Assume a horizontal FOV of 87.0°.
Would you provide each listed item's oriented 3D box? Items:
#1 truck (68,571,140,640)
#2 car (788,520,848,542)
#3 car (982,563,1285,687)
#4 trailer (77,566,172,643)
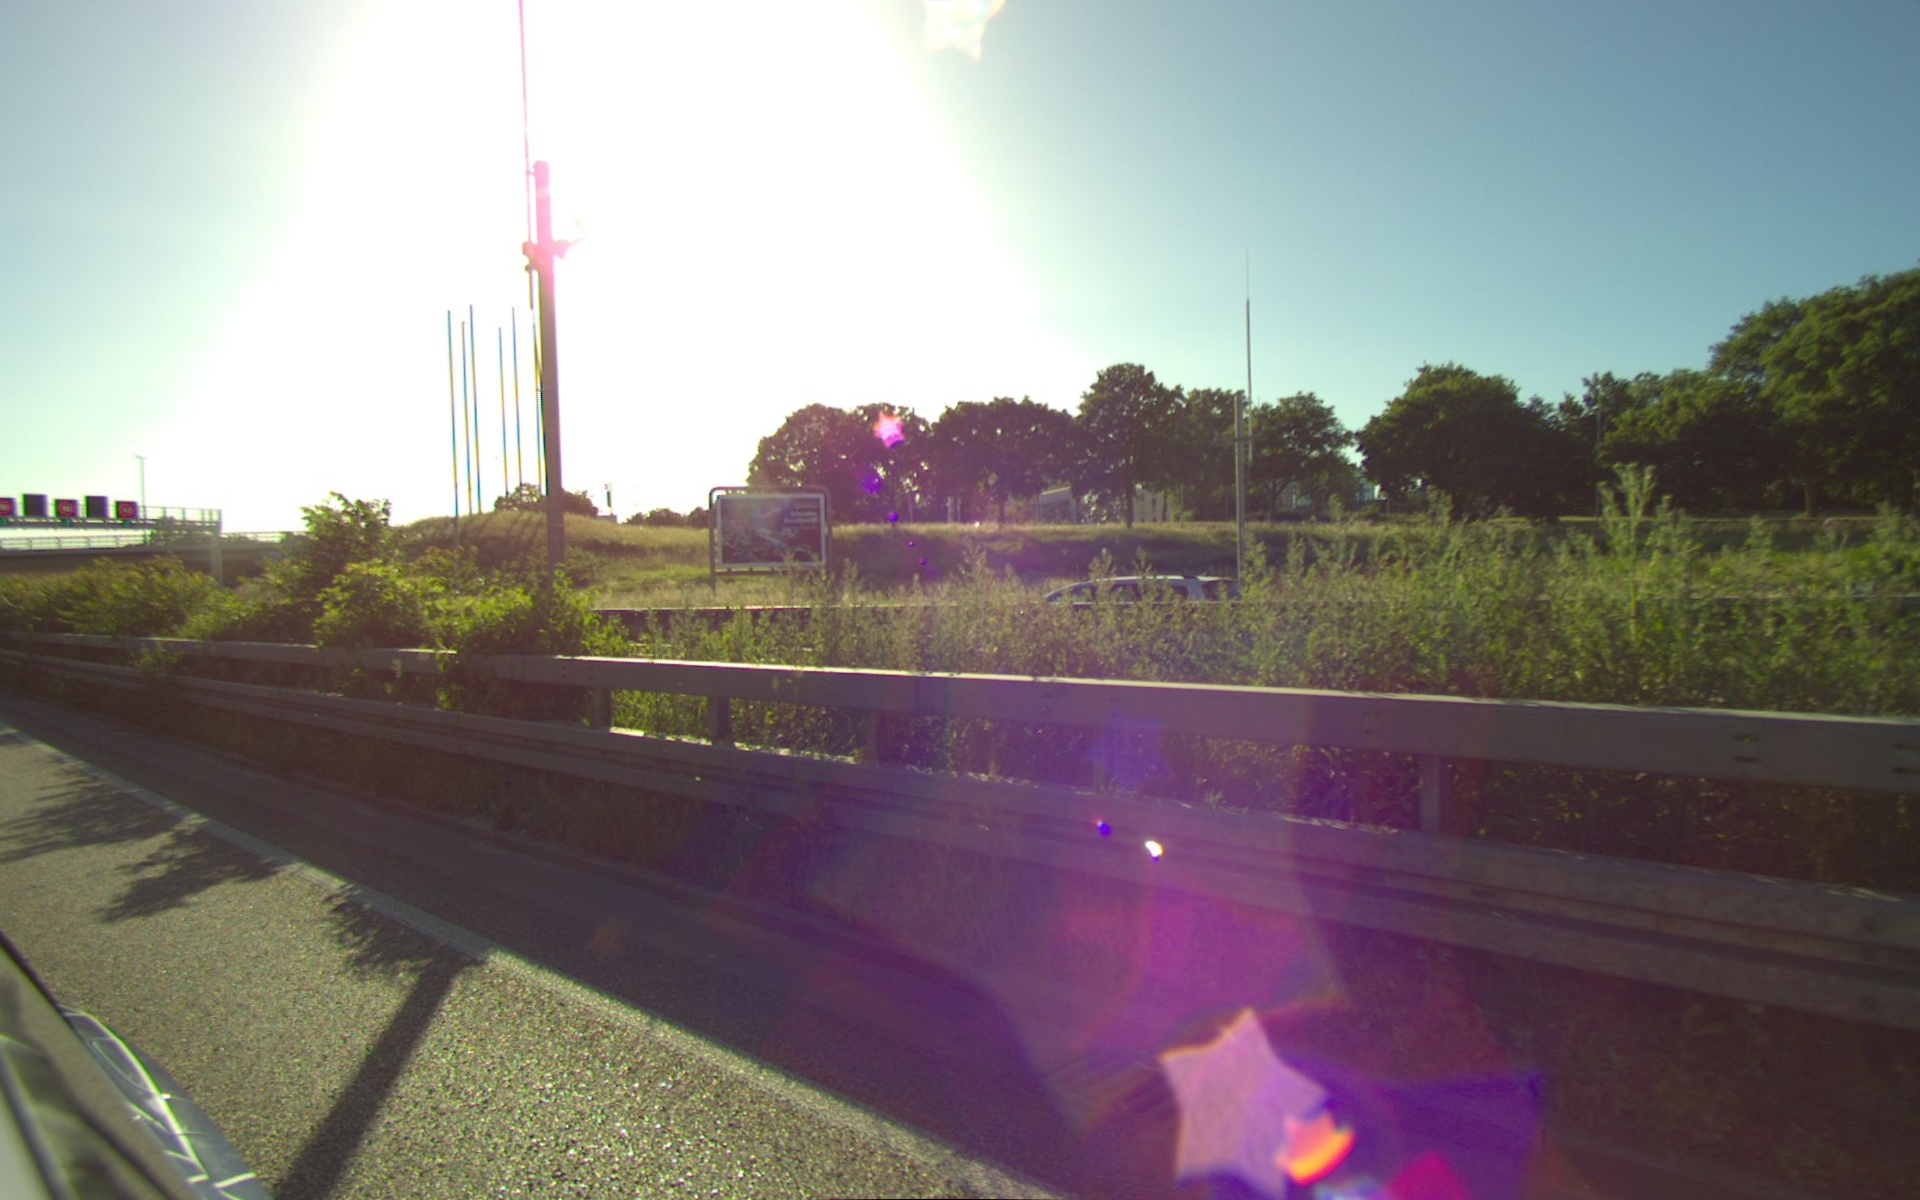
[{"bbox_3d":[-53.672,0.369,63.432,5.559,4.154,2.621,-1,0,41],"label":"truck"},{"bbox_3d":[-15.347,-7.425,109.363,6.058,2.029,2.529,-1,0,24],"label":"car"},{"bbox_3d":[2.447,0.337,14.792,3.998,1.573,1.822,-1,0,41],"label":"car"},{"bbox_3d":[-49.098,0.314,59.351,10.695,4.154,2.621,-1,0,42],"label":"trailer"}]
